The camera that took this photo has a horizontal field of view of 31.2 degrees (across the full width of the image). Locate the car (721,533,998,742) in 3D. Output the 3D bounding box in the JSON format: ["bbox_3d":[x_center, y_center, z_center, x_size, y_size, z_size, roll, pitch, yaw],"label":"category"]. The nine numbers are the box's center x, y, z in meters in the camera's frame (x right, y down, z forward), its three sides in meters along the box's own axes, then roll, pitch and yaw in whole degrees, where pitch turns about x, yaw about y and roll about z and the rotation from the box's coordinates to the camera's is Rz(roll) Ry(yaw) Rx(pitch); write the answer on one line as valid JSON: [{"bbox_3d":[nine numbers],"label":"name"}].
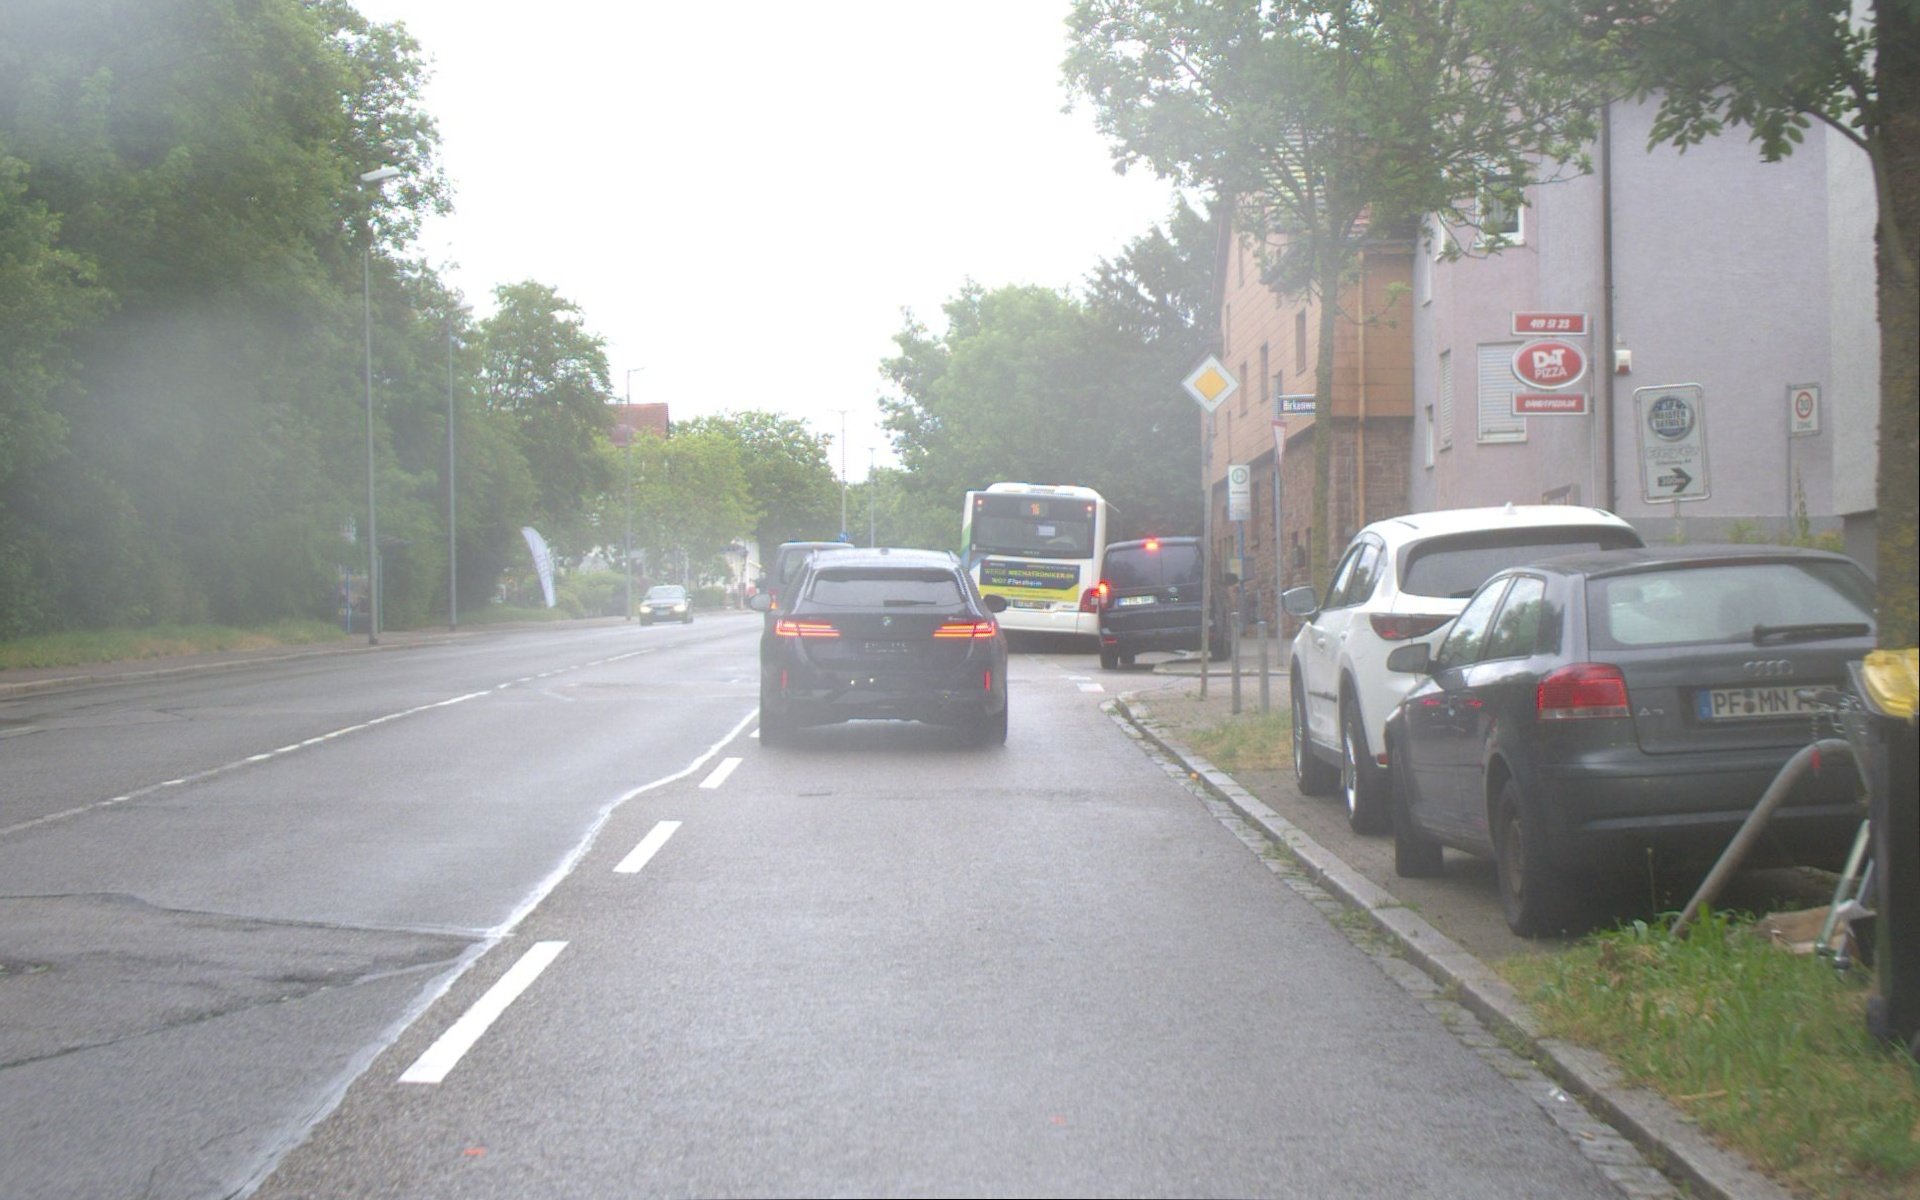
[{"bbox_3d":[-0.876,0.238,27.336,1.993,1.448,4.001,2,1,-4],"label":"car"}]

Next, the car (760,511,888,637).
[{"bbox_3d":[-2.226,-0.459,57.115,1.993,2.007,4.000,0,1,0],"label":"car"}]

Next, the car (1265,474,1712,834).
[{"bbox_3d":[2.846,0.209,19.471,1.824,1.766,4.541,-1,2,0],"label":"car"}]

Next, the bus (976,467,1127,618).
[{"bbox_3d":[1.793,-1.243,71.374,2.623,2.837,9.795,-2,2,-1],"label":"bus"}]

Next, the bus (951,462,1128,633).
[{"bbox_3d":[1.548,-1.005,62.490,2.623,2.837,8.288,-1,2,5],"label":"bus"}]

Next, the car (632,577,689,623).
[{"bbox_3d":[-10.999,0.000,126.351,1.770,1.528,4.000,-2,2,-1],"label":"car"}]

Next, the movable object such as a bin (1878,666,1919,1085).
[{"bbox_3d":[2.727,0.696,8.493,0.619,1.046,0.822,-3,2,-3],"label":"movable object such as a bin"}]

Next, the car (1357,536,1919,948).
[{"bbox_3d":[2.768,0.468,14.222,1.641,1.443,3.999,-1,1,-2],"label":"car"}]

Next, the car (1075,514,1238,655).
[{"bbox_3d":[2.964,-0.239,50.962,1.927,1.886,4.760,-4,0,8],"label":"car"}]

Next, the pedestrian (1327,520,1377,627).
[{"bbox_3d":[6.538,-0.448,57.418,0.690,1.748,0.669,-2,1,-1],"label":"pedestrian"}]

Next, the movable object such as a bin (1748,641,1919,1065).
[{"bbox_3d":[2.592,0.661,9.359,0.619,1.046,0.822,-3,2,-3],"label":"movable object such as a bin"}]
